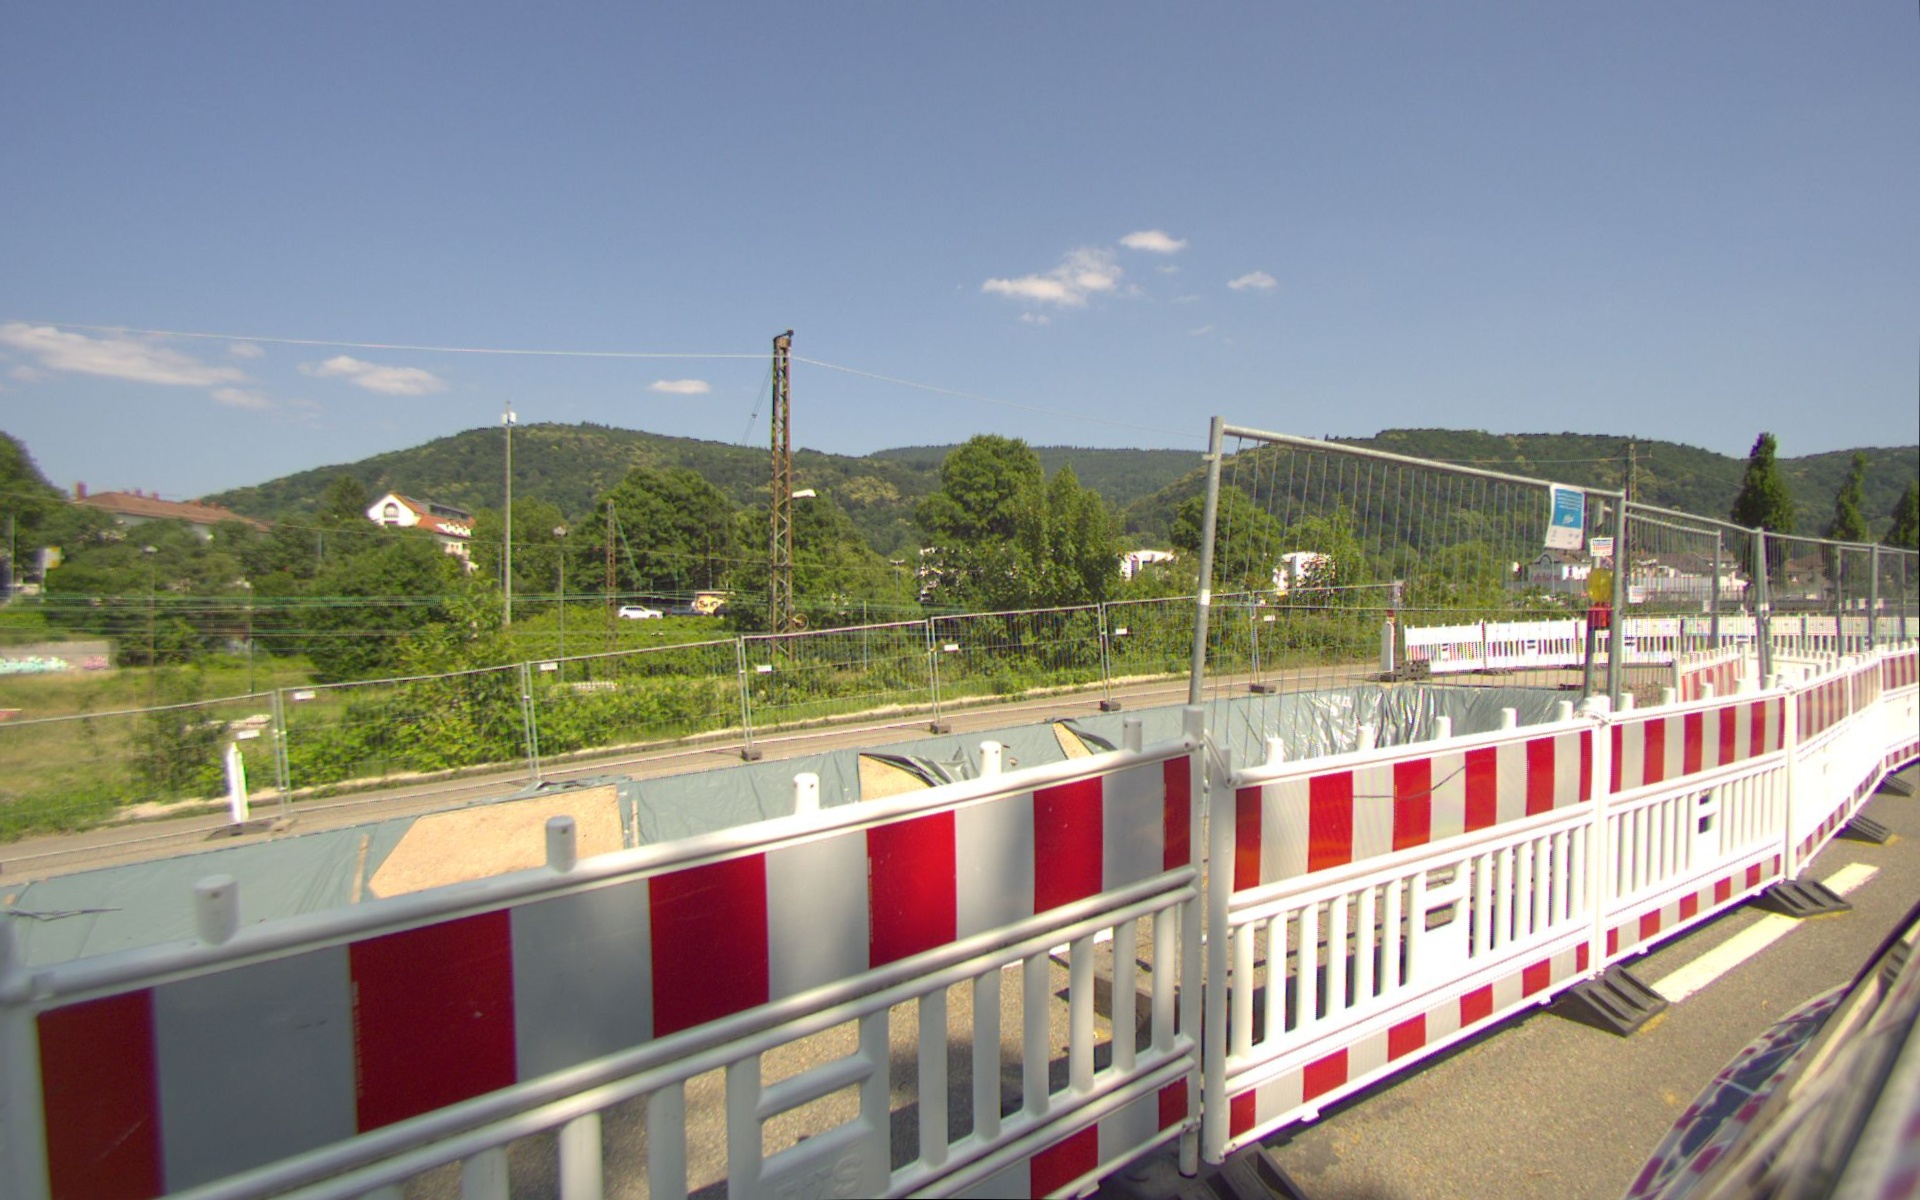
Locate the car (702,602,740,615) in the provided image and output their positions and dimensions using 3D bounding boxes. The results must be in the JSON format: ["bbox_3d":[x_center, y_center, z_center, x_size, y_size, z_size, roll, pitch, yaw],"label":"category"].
[{"bbox_3d":[-25.285,0.889,106.982,3.764,1.384,1.785,-1,0,-7],"label":"car"}]

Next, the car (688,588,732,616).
[{"bbox_3d":[-27.038,0.221,109.559,4.543,2.888,1.869,-1,0,-13],"label":"car"}]

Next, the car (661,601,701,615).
[{"bbox_3d":[-29.324,0.830,106.528,3.766,1.384,1.785,-1,0,-5],"label":"car"}]

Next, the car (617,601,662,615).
[{"bbox_3d":[-33.626,0.841,106.311,4.230,1.384,1.867,-1,0,-4],"label":"car"}]
